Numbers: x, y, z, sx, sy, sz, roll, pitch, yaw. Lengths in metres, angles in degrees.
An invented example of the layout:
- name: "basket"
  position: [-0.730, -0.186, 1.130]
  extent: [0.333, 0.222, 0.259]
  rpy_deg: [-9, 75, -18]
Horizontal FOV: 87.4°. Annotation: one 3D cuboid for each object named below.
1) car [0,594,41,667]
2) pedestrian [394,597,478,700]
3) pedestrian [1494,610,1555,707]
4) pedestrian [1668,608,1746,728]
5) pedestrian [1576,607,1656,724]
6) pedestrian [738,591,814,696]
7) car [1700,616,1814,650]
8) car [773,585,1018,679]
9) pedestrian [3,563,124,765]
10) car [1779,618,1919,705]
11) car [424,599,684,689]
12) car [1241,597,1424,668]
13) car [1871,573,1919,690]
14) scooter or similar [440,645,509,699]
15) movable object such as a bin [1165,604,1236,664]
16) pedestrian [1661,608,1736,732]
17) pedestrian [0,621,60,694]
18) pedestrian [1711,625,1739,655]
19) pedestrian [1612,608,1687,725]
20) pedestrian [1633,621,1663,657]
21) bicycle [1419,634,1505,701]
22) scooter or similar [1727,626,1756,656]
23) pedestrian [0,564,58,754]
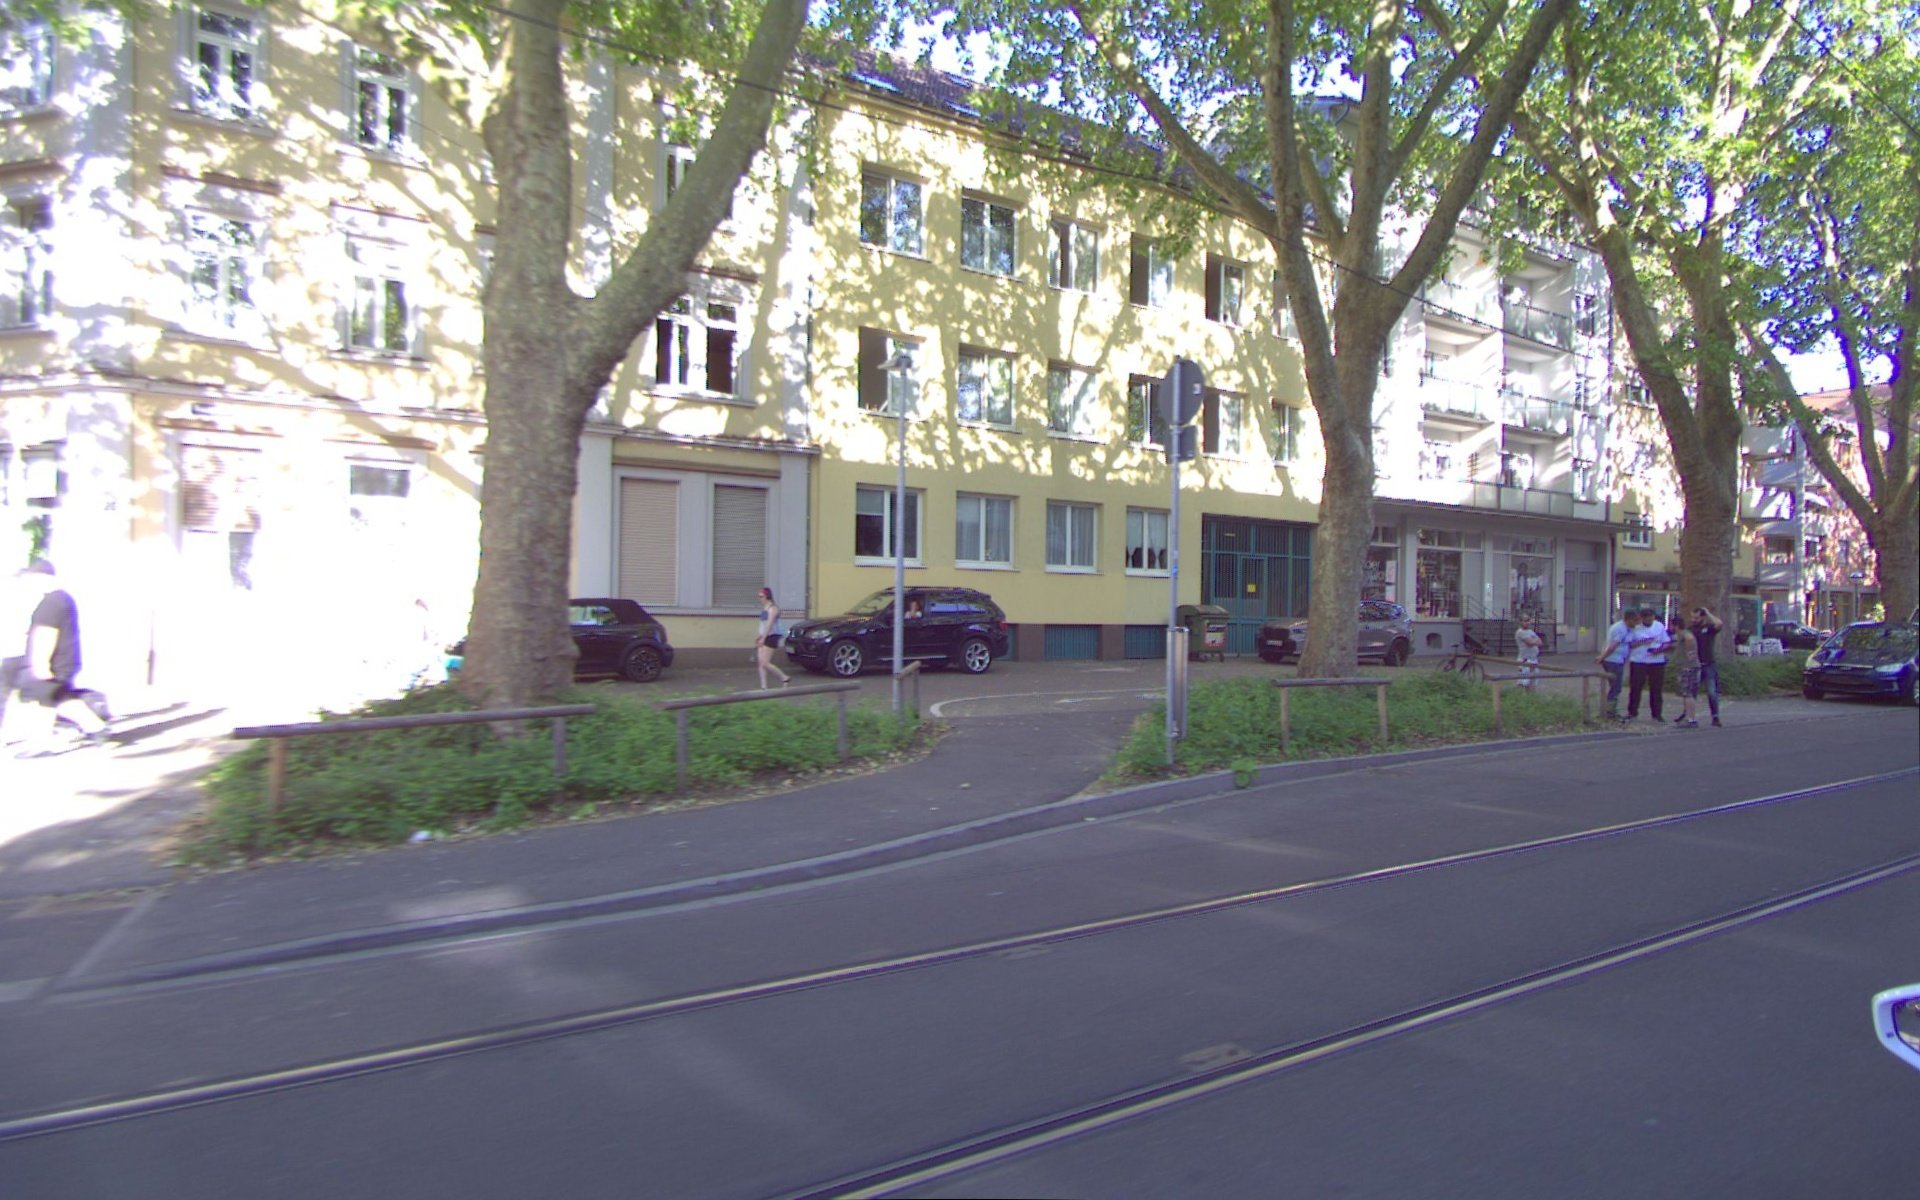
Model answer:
- name: "car"
  position: [-24.146, 0.705, 24.342]
  extent: [1.872, 1.693, 4.122]
  rpy_deg: [1, 0, -30]
- name: "pedestrian"
  position: [-8.025, 0.724, 15.380]
  extent: [1.057, 1.498, 0.768]
  rpy_deg: [1, 0, -32]
- name: "pedestrian"
  position: [9.921, 1.007, 17.665]
  extent: [0.699, 1.631, 0.771]
  rpy_deg: [1, 0, 12]
- name: "pedestrian"
  position: [11.578, 1.033, 15.573]
  extent: [0.762, 1.800, 0.708]
  rpy_deg: [1, 0, -31]
- name: "pedestrian"
  position: [10.247, 1.002, 15.703]
  extent: [0.708, 1.758, 0.765]
  rpy_deg: [1, 0, -26]
- name: "pedestrian"
  position: [-3.022, 0.694, 16.478]
  extent: [0.999, 1.659, 0.707]
  rpy_deg: [1, 0, -33]
- name: "car"
  position: [42.526, 1.752, 53.655]
  extent: [1.982, 1.475, 4.397]
  rpy_deg: [1, 2, -37]
- name: "car"
  position: [-1.293, 0.648, 20.703]
  extent: [4.637, 1.760, 1.985]
  rpy_deg: [2, 0, -29]
- name: "pedestrian"
  position: [-8.324, 0.566, 9.363]
  extent: [0.728, 1.781, 0.733]
  rpy_deg: [1, 0, -35]
- name: "car"
  position: [18.956, 1.223, 20.701]
  extent: [4.235, 1.582, 1.906]
  rpy_deg: [2, 0, -31]
- name: "car"
  position: [-7.055, 0.730, 17.572]
  extent: [3.957, 1.406, 1.769]
  rpy_deg: [2, 0, -33]
- name: "car"
  position: [10.091, 0.865, 27.112]
  extent: [4.840, 1.756, 1.984]
  rpy_deg: [2, 0, -30]
- name: "car"
  position: [24.031, 0.771, 23.601]
  extent: [5.951, 2.611, 2.098]
  rpy_deg: [2, 0, -29]
- name: "scooter or similar"
  position: [-7.392, 1.083, 15.292]
  extent: [0.886, 0.764, 0.525]
  rpy_deg: [1, 0, -32]
- name: "movable object such as a bin"
  position: [6.356, 0.892, 26.570]
  extent: [1.328, 1.522, 1.224]
  rpy_deg: [1, 0, -31]
- name: "pedestrian"
  position: [10.940, 1.013, 14.886]
  extent: [0.709, 1.758, 0.761]
  rpy_deg: [1, 0, -43]
- name: "pedestrian"
  position: [-14.040, 0.858, 15.132]
  extent: [0.533, 1.054, 0.545]
  rpy_deg: [1, 0, 27]
- name: "pedestrian"
  position: [31.540, 1.641, 41.416]
  extent: [0.662, 1.182, 0.644]
  rpy_deg: [1, 0, -4]
- name: "pedestrian"
  position: [10.788, 1.015, 15.743]
  extent: [0.699, 1.758, 0.771]
  rpy_deg: [1, 0, 12]
- name: "pedestrian"
  position: [25.520, 1.445, 37.263]
  extent: [0.632, 1.289, 0.674]
  rpy_deg: [1, 0, -7]
- name: "bicycle"
  position: [9.133, 1.197, 18.347]
  extent: [0.558, 1.094, 1.851]
  rpy_deg: [1, 0, -3]
- name: "scooter or similar"
  position: [31.544, 1.635, 40.546]
  extent: [0.662, 1.182, 0.644]
  rpy_deg: [1, 0, -4]
- name: "pedestrian"
  position: [-9.450, 0.552, 9.757]
  extent: [0.709, 1.803, 0.670]
  rpy_deg: [2, 0, 2]
